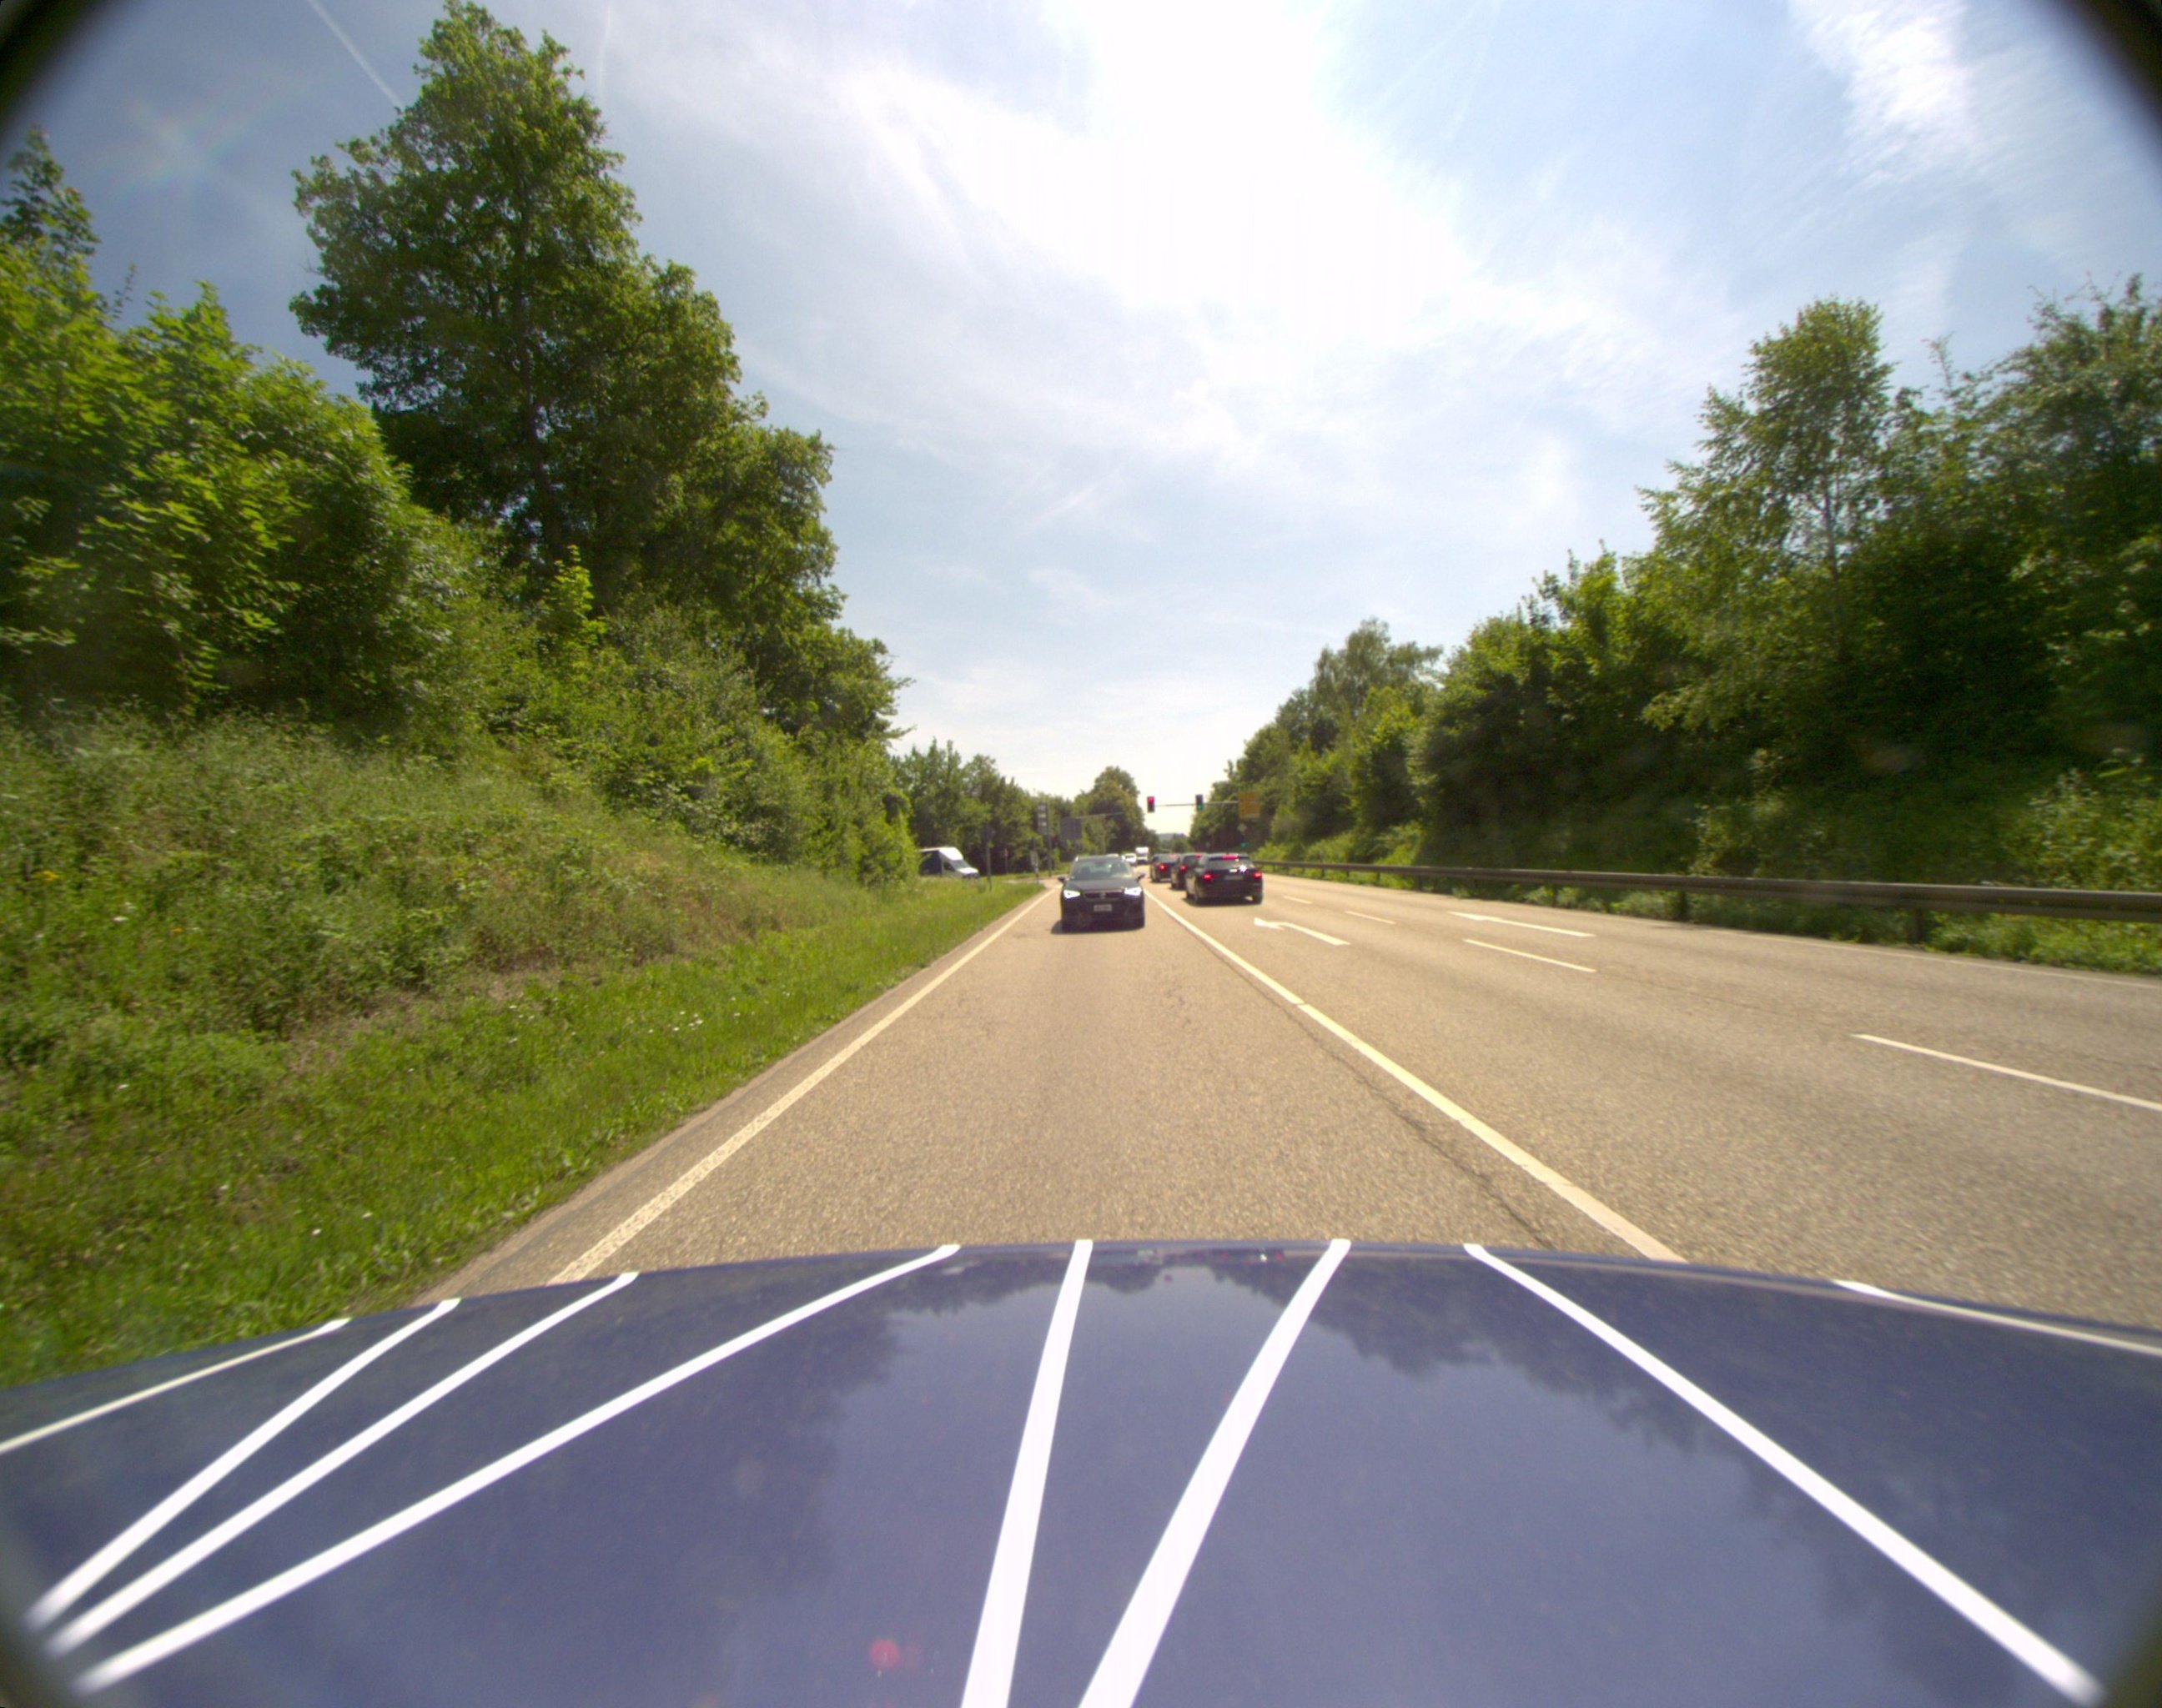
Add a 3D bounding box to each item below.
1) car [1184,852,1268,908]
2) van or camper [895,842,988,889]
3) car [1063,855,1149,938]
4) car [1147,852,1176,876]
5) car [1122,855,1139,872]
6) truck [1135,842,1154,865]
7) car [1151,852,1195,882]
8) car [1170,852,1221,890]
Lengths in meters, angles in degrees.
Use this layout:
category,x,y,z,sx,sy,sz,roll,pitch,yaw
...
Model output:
category,x,y,z,sx,sy,sz,roll,pitch,yaw
car,4.211,0.701,22.731,1.808,1.445,4.387,-2,0,2
van or camper,-11.083,0.937,60.156,7.236,3.193,2.108,-4,1,29
car,0.551,0.844,16.951,1.626,1.535,4.000,-2,0,2
car,5.162,0.629,49.180,1.570,1.431,3.771,-2,0,3
car,6.518,1.232,99.919,1.998,2.002,4.001,-4,0,6
truck,11.791,-0.114,140.173,2.838,3.795,8.454,-4,1,9
car,4.752,0.643,39.870,1.786,1.438,4.641,-2,0,1
car,4.632,0.664,31.113,1.685,1.406,4.183,-2,0,4
